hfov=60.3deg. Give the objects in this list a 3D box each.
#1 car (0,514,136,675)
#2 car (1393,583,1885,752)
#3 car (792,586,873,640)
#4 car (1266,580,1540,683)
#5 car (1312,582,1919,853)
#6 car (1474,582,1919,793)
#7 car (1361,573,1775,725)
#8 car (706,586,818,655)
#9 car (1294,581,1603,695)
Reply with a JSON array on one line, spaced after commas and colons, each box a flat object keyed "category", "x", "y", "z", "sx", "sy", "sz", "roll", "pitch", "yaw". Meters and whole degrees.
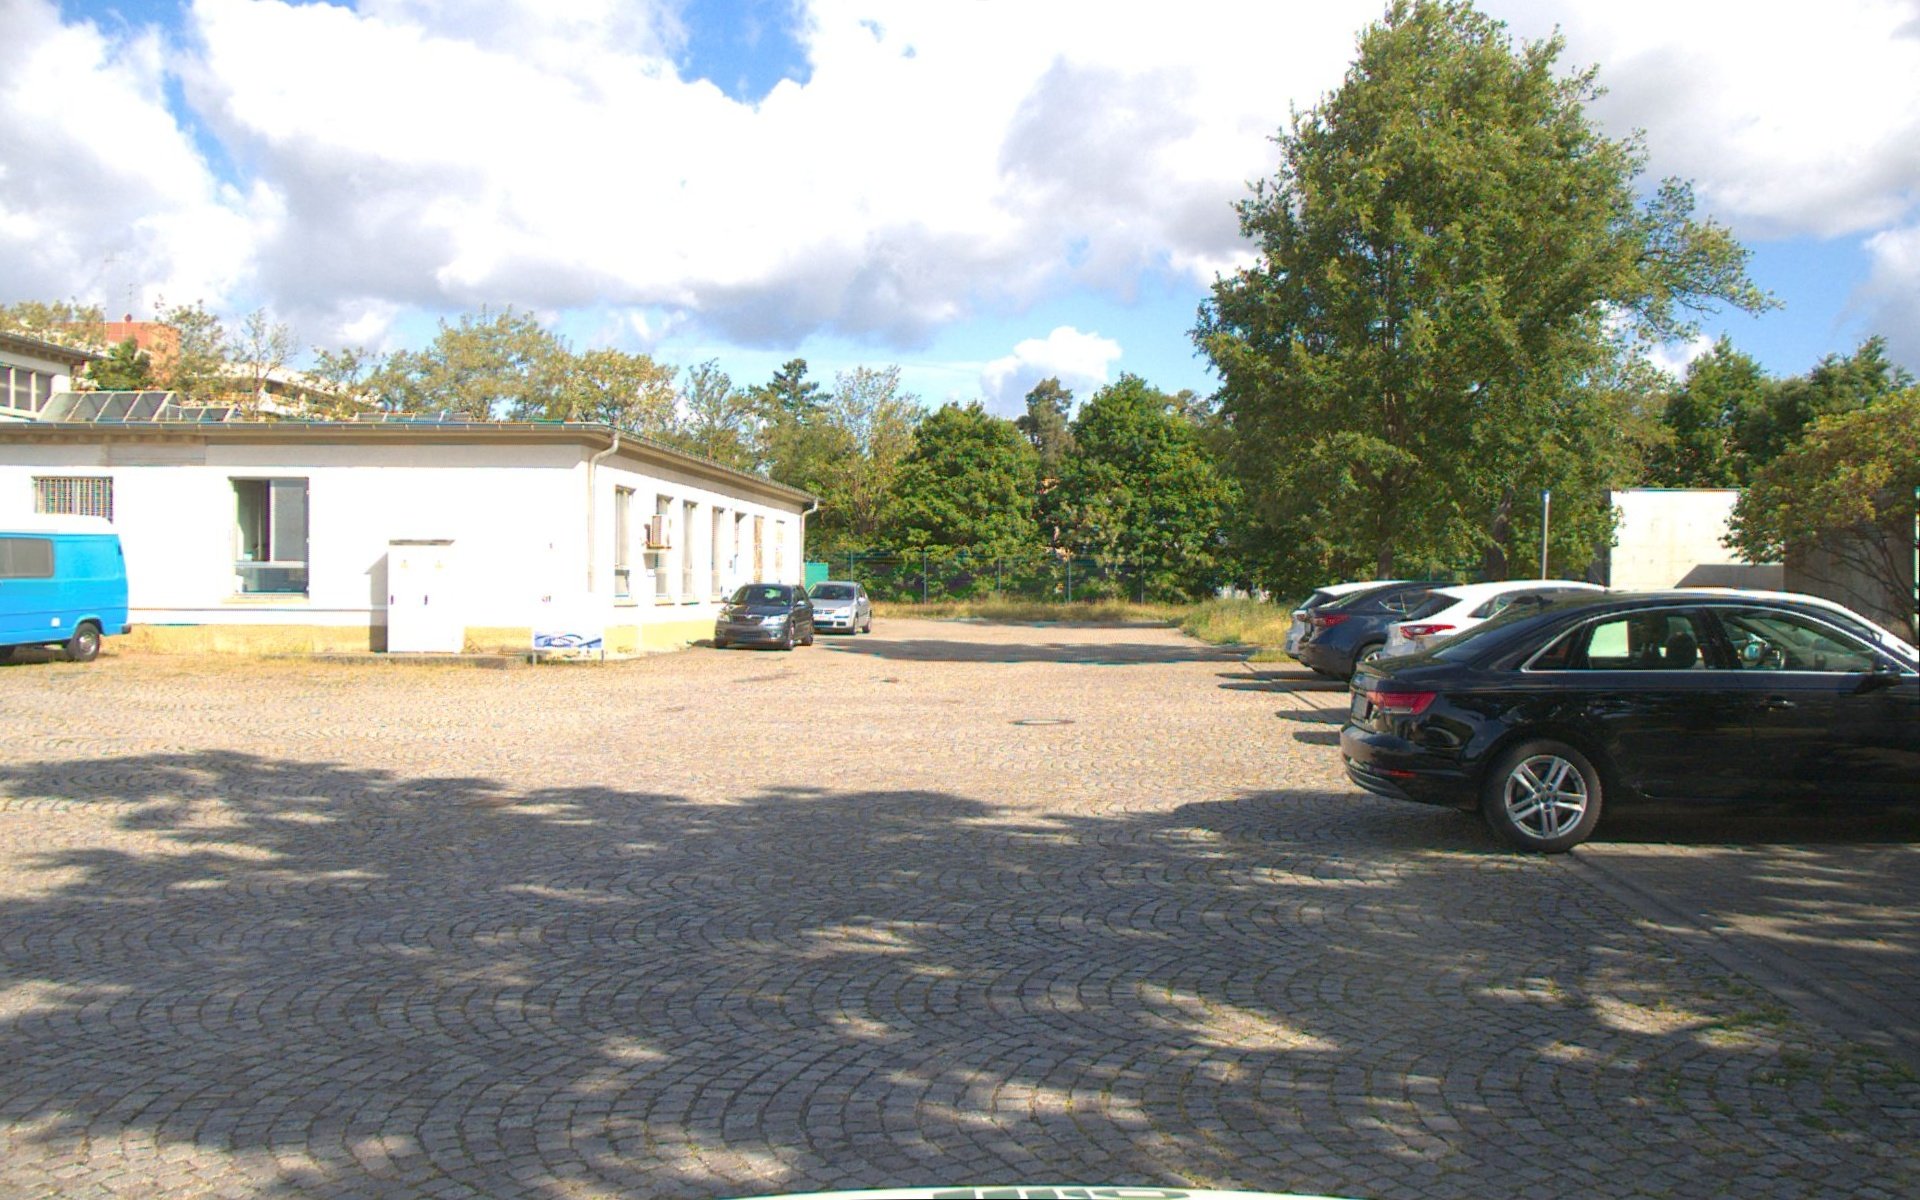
[{"category": "car", "x": -15.949, "y": -0.086, "z": 26.835, "sx": 2.038, "sy": 2.526, "sz": 5.243, "roll": 0, "pitch": 0, "yaw": 7}, {"category": "car", "x": 6.104, "y": 0.592, "z": 15.238, "sx": 3.829, "sy": 1.396, "sz": 1.729, "roll": -1, "pitch": 0, "yaw": 5}, {"category": "car", "x": -3.607, "y": 0.350, "z": 47.497, "sx": 1.651, "sy": 1.460, "sz": 3.989, "roll": 1, "pitch": 0, "yaw": 5}, {"category": "car", "x": 6.776, "y": 0.472, "z": 25.630, "sx": 3.829, "sy": 1.460, "sz": 1.797, "roll": -1, "pitch": 0, "yaw": 5}, {"category": "car", "x": 4.636, "y": 0.652, "z": 10.143, "sx": 4.620, "sy": 1.448, "sz": 1.758, "roll": -1, "pitch": 0, "yaw": 3}, {"category": "car", "x": 6.205, "y": 0.636, "z": 12.761, "sx": 4.049, "sy": 1.485, "sz": 1.693, "roll": -1, "pitch": 0, "yaw": 10}, {"category": "car", "x": 6.410, "y": 0.504, "z": 17.797, "sx": 3.829, "sy": 1.472, "sz": 1.757, "roll": -1, "pitch": 0, "yaw": 5}, {"category": "car", "x": -4.449, "y": 0.434, "z": 37.765, "sx": 1.726, "sy": 1.460, "sz": 3.994, "roll": 1, "pitch": 0, "yaw": 5}, {"category": "car", "x": 6.692, "y": 0.505, "z": 22.972, "sx": 3.829, "sy": 1.442, "sz": 1.693, "roll": -1, "pitch": 0, "yaw": 5}]
